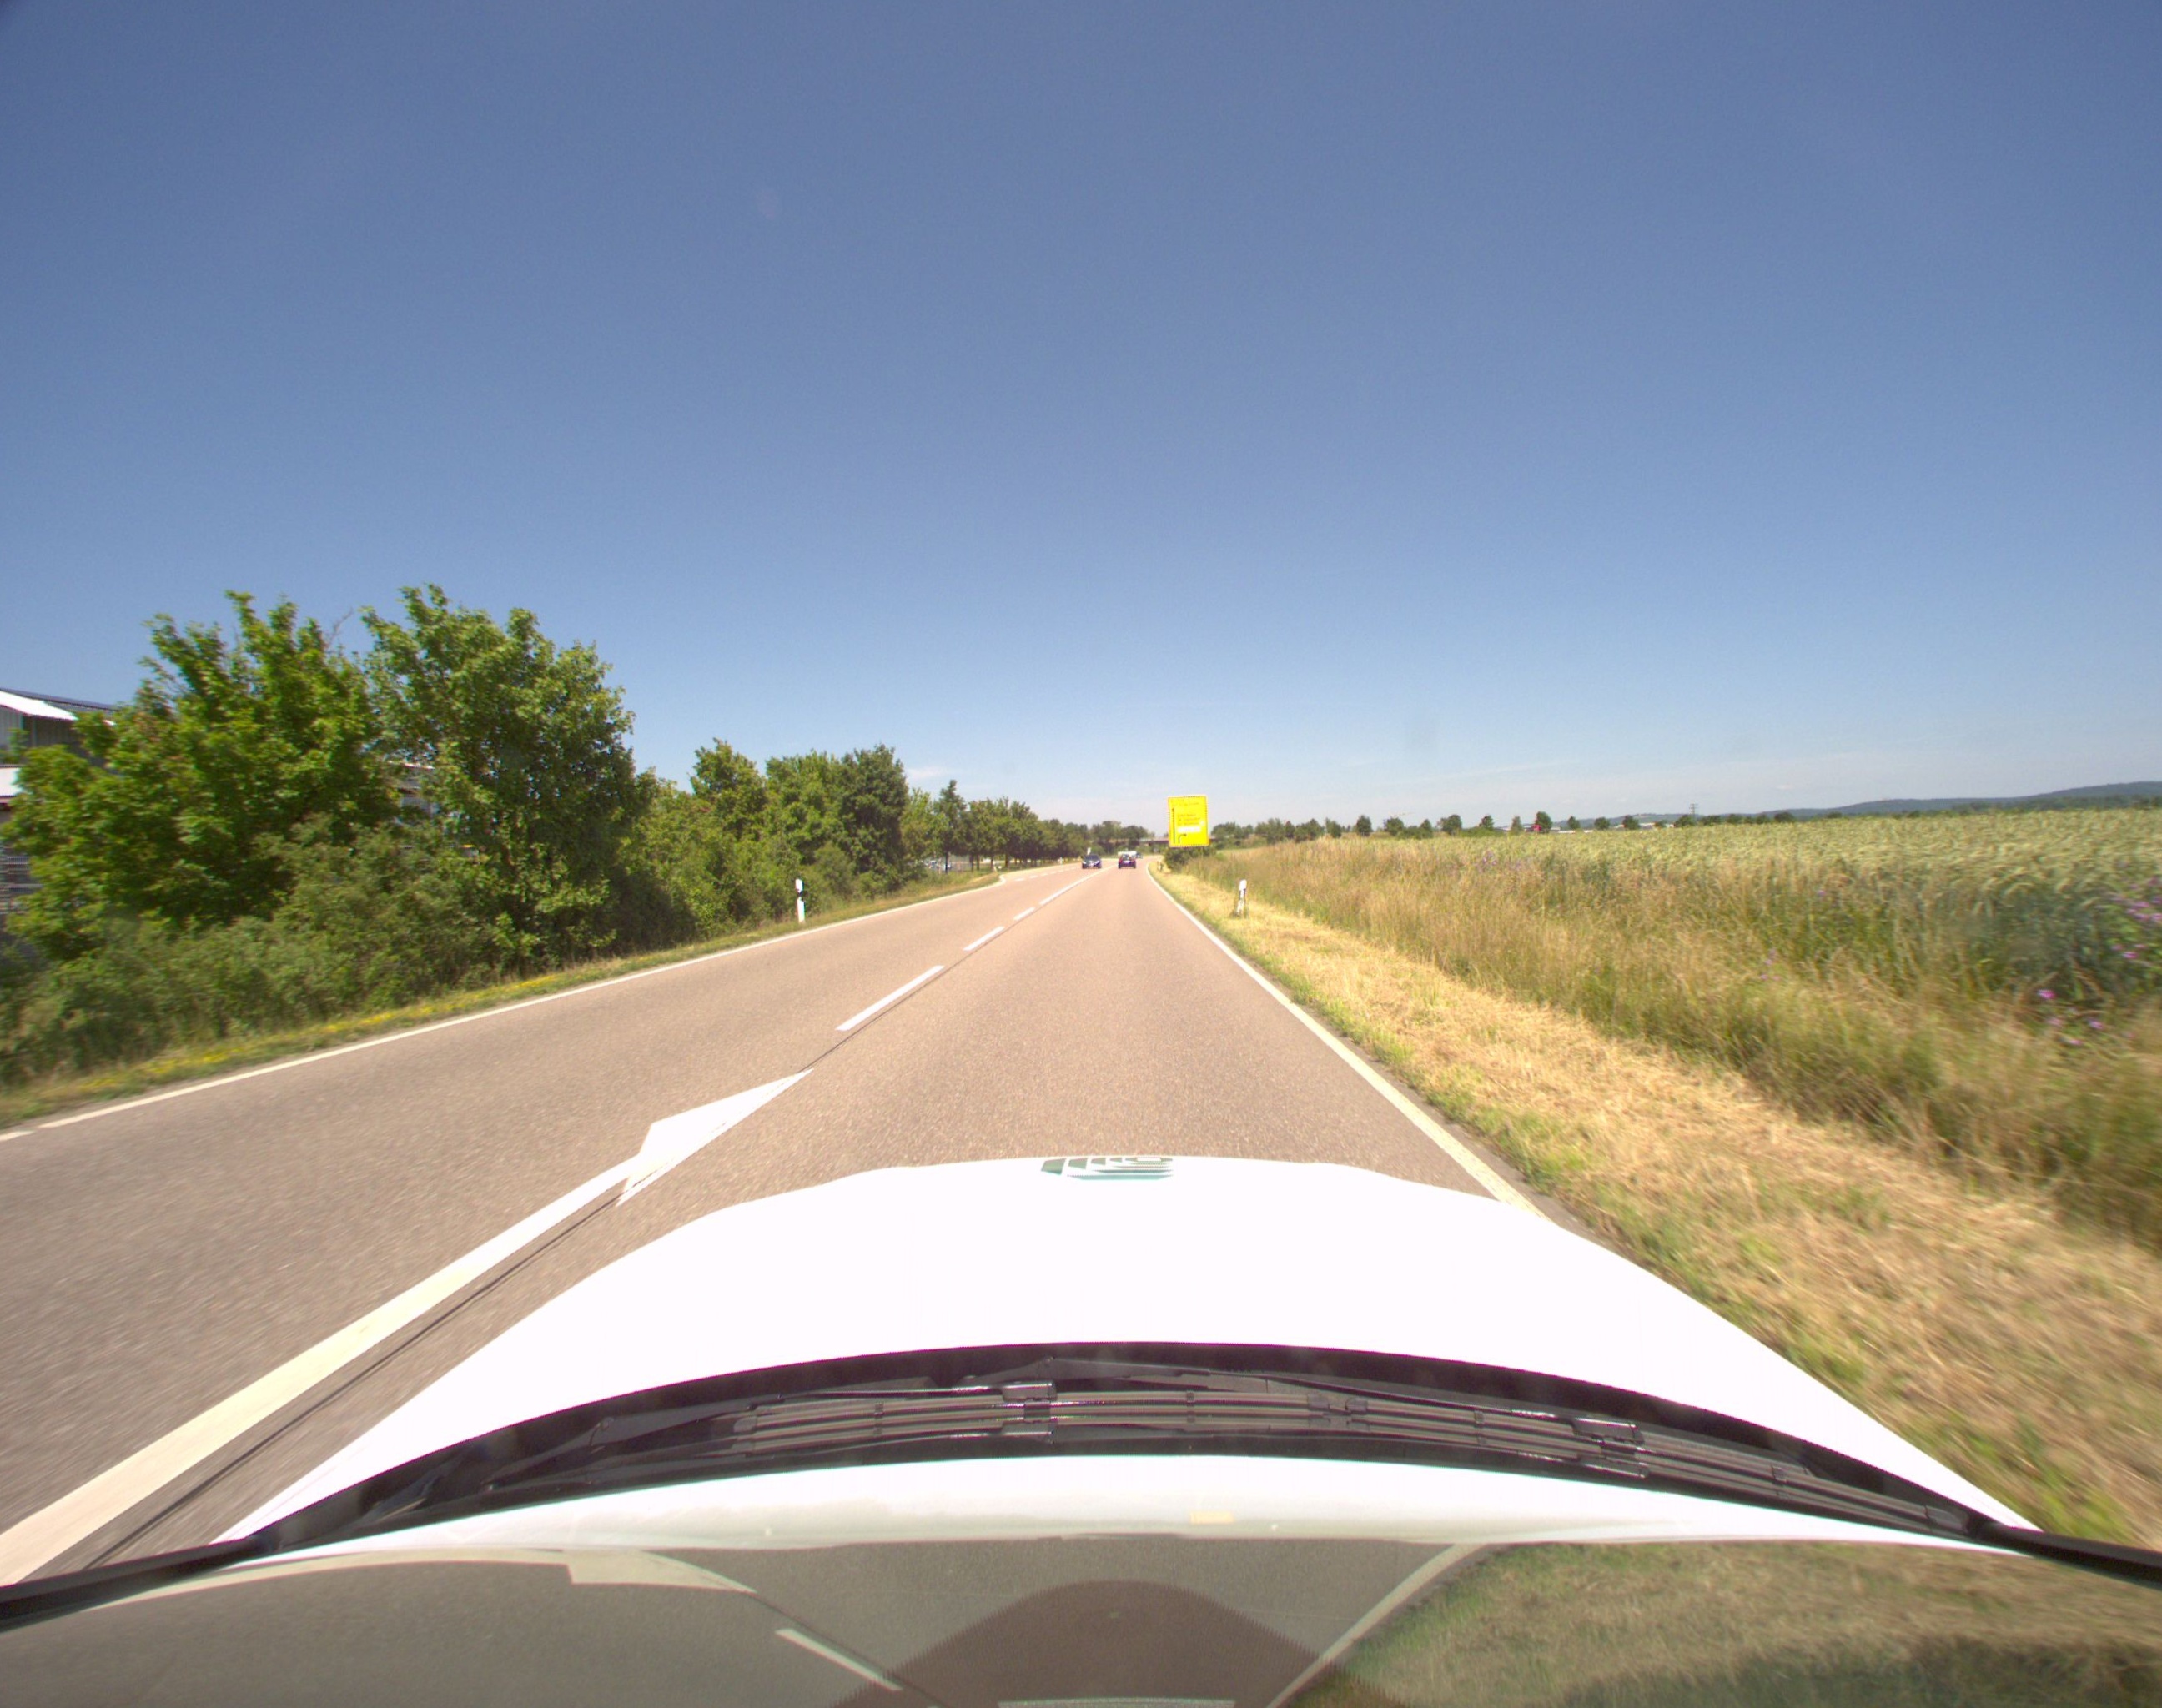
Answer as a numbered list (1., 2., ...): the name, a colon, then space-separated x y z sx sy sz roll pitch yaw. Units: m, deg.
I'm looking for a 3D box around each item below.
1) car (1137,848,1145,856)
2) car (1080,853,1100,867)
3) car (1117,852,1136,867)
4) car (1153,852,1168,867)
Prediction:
1. car: 15.492 -0.391 210.473 1.984 2.014 4.005 0 -1 5
2. car: 0.960 0.578 83.094 1.774 1.420 4.538 -1 0 3
3. car: 4.515 0.585 81.492 1.807 1.441 4.002 -1 0 2
4. car: 11.143 0.794 113.933 1.741 2.014 4.000 0 -1 0
